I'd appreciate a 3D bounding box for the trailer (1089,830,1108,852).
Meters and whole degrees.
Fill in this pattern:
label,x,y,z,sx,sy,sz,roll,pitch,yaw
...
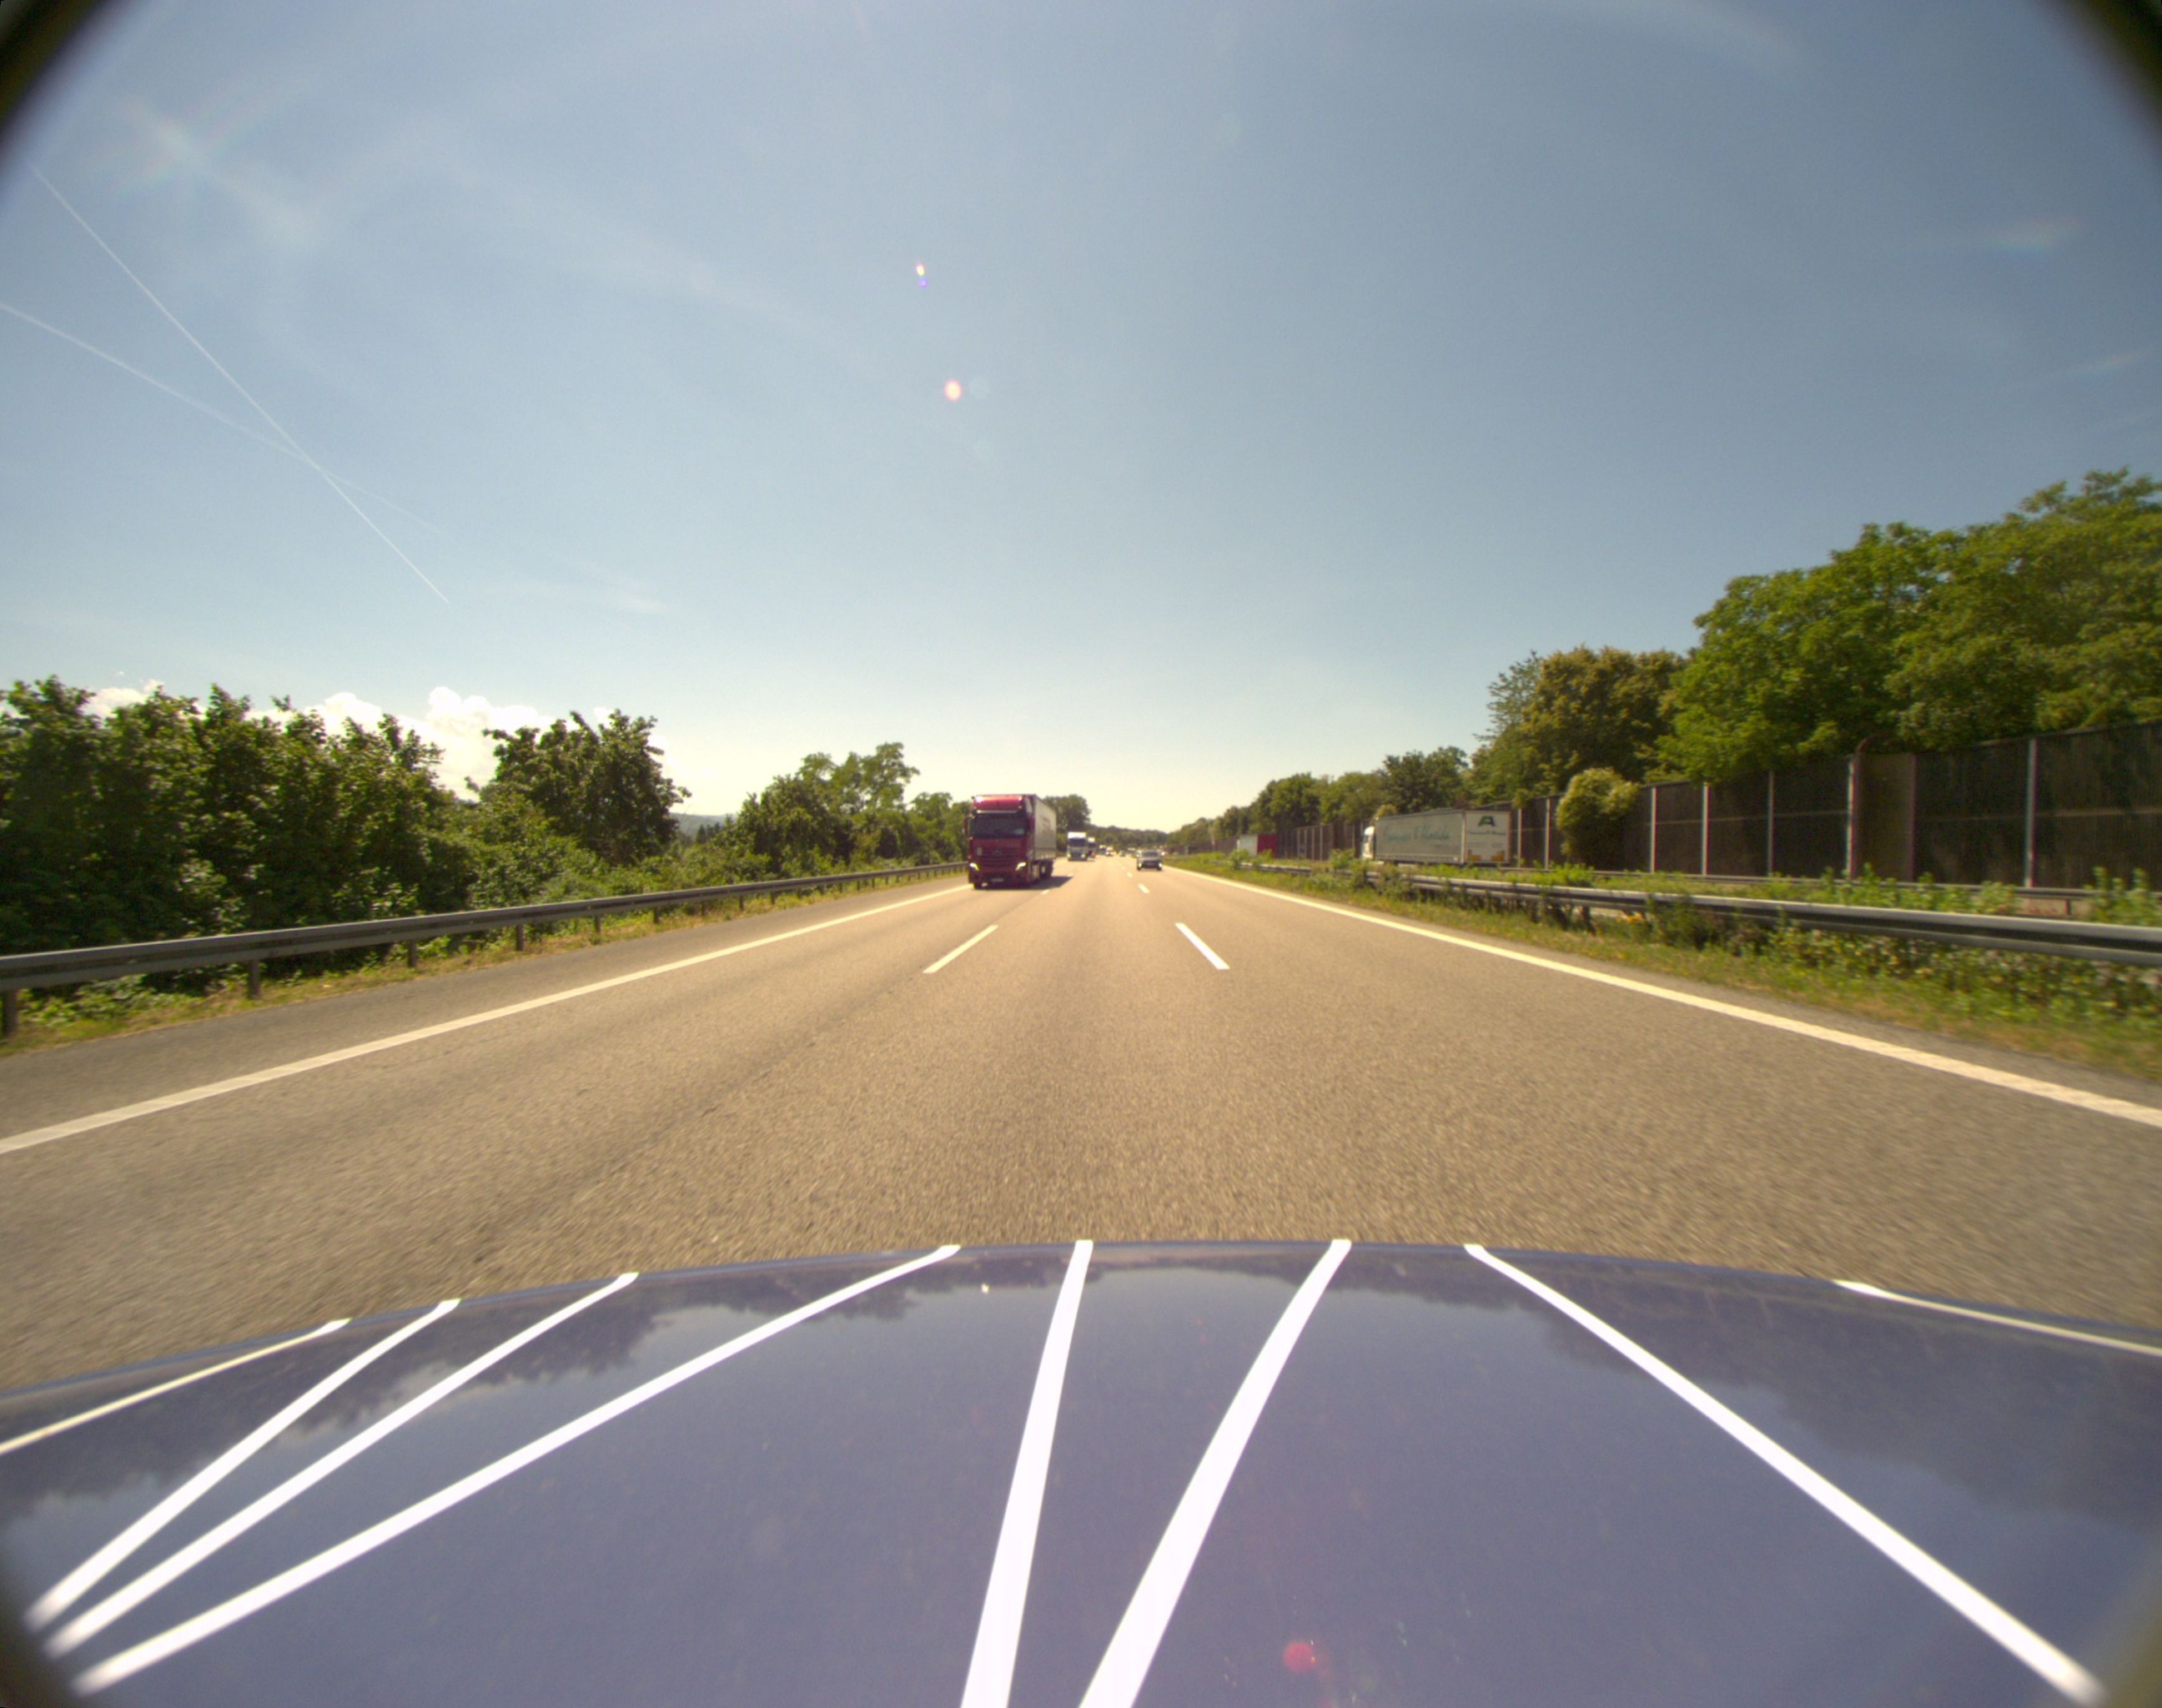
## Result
label,x,y,z,sx,sy,sz,roll,pitch,yaw
trailer,3.692,-2.609,157.299,2.540,4.446,14.166,1,1,7

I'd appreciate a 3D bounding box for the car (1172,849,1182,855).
label,x,y,z,sx,sy,sz,roll,pitch,yaw
car,24.650,-0.444,195.310,1.998,1.581,4.493,1,1,2

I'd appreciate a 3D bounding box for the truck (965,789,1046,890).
label,x,y,z,sx,sy,sz,roll,pitch,yaw
truck,-3.221,-0.610,34.314,2.713,4.065,6.964,1,1,2

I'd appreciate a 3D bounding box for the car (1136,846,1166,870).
label,x,y,z,sx,sy,sz,roll,pitch,yaw
car,5.316,0.242,57.915,1.909,1.717,4.375,1,1,1

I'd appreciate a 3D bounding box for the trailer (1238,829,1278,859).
label,x,y,z,sx,sy,sz,roll,pitch,yaw
trailer,24.932,-1.444,107.958,2.741,3.999,14.305,0,1,1

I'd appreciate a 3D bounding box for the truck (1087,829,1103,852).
label,x,y,z,sx,sy,sz,roll,pitch,yaw
truck,2.848,-2.565,149.870,2.540,4.446,5.575,1,1,7

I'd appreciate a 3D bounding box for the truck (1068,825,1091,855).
label,x,y,z,sx,sy,sz,roll,pitch,yaw
truck,-0.260,-1.911,106.821,2.967,4.082,6.205,1,0,-2

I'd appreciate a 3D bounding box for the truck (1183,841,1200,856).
label,x,y,z,sx,sy,sz,roll,pitch,yaw
truck,29.057,-1.431,200.296,3.097,3.654,12.368,1,1,1

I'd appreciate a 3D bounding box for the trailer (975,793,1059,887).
label,x,y,z,sx,sy,sz,roll,pitch,yaw
trailer,-3.000,-0.656,40.139,2.713,4.065,14.151,1,1,2

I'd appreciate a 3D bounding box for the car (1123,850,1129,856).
label,x,y,z,sx,sy,sz,roll,pitch,yaw
car,14.076,-0.275,236.421,1.908,1.717,4.377,1,1,5

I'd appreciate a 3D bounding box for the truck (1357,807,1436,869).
label,x,y,z,sx,sy,sz,roll,pitch,yaw
truck,22.526,-1.114,54.745,2.840,4.159,7.142,0,1,1

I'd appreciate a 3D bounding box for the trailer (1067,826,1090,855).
label,x,y,z,sx,sy,sz,roll,pitch,yaw
trailer,-0.410,-1.944,112.476,2.967,4.082,12.529,1,0,-2

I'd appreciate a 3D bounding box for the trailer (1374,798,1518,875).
label,x,y,z,sx,sy,sz,roll,pitch,yaw
trailer,22.354,-1.033,47.851,2.917,4.159,13.311,0,1,1

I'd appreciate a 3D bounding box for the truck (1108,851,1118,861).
label,x,y,z,sx,sy,sz,roll,pitch,yaw
truck,9.732,0.621,229.716,2.714,2.712,12.370,1,1,3
